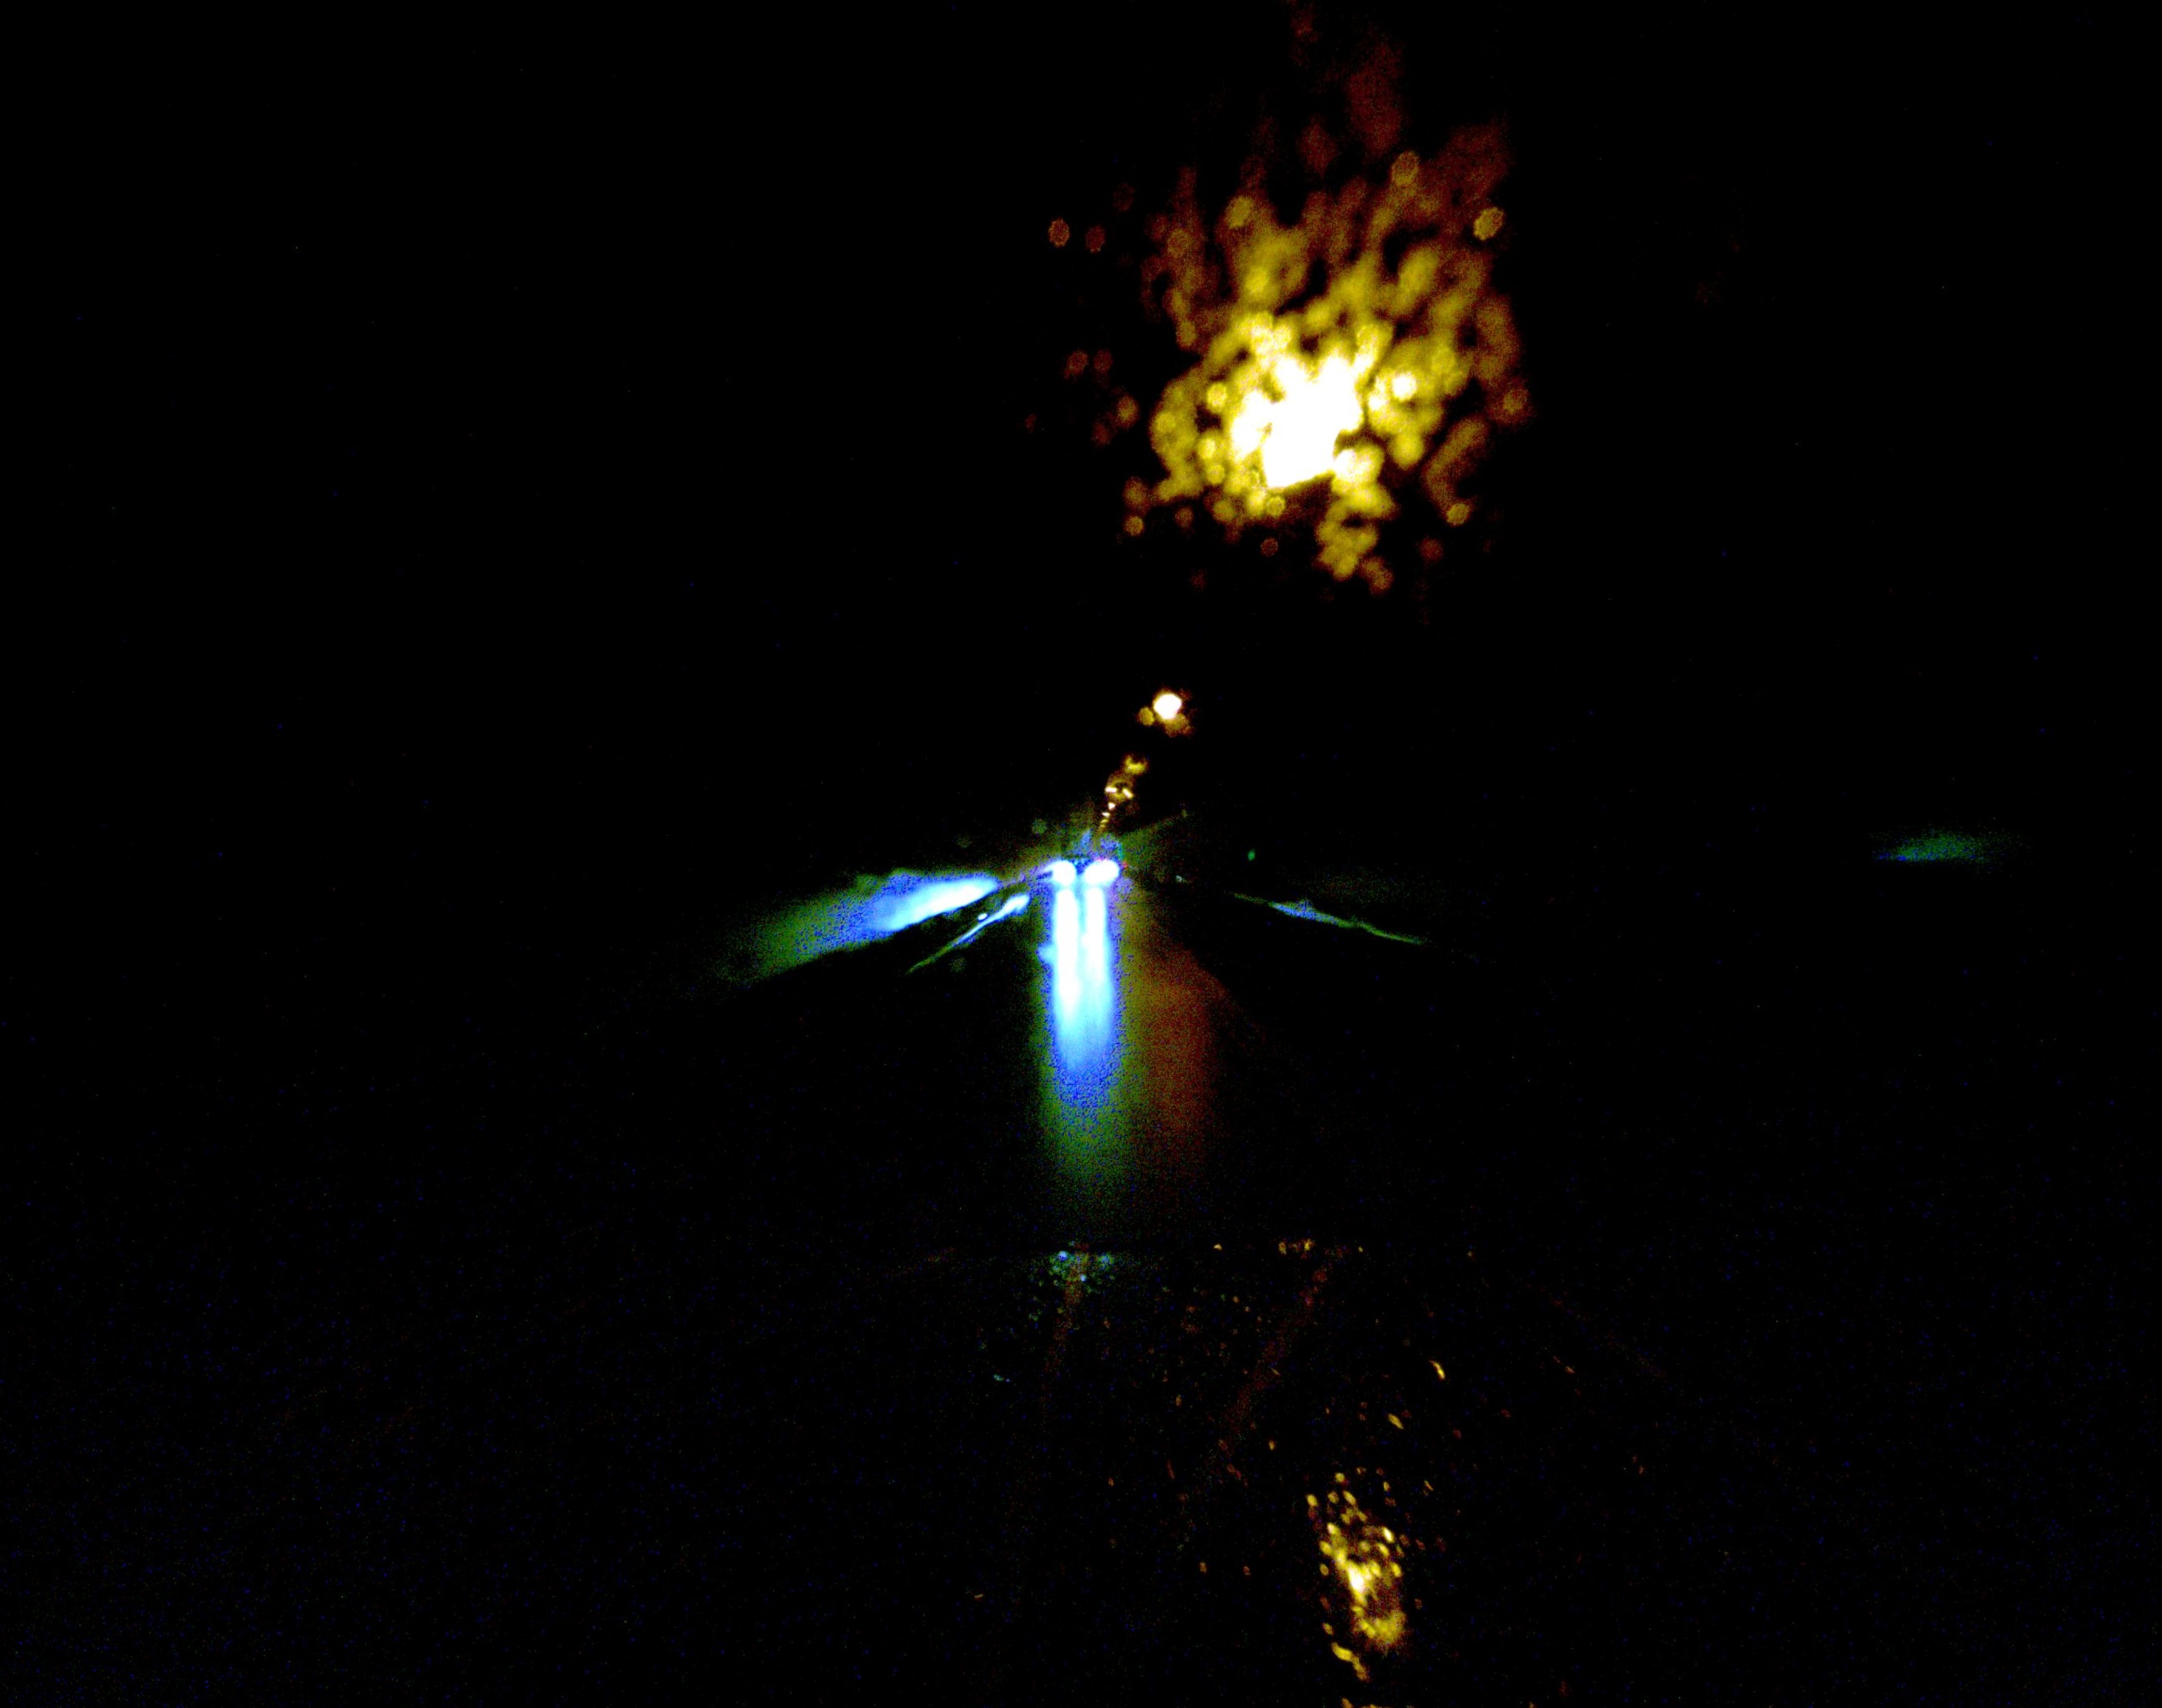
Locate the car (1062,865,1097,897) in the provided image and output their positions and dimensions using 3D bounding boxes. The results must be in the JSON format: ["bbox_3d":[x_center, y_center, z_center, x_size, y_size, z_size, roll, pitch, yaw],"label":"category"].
[{"bbox_3d":[-0.033,1.318,37.802,1.627,1.487,3.585,-1,0,2],"label":"car"}]

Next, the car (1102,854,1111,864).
[{"bbox_3d":[4.868,0.969,145.499,1.765,1.888,4.609,-1,0,2],"label":"car"}]

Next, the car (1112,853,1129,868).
[{"bbox_3d":[4.059,0.641,78.179,1.639,1.526,3.646,-1,0,2],"label":"car"}]
